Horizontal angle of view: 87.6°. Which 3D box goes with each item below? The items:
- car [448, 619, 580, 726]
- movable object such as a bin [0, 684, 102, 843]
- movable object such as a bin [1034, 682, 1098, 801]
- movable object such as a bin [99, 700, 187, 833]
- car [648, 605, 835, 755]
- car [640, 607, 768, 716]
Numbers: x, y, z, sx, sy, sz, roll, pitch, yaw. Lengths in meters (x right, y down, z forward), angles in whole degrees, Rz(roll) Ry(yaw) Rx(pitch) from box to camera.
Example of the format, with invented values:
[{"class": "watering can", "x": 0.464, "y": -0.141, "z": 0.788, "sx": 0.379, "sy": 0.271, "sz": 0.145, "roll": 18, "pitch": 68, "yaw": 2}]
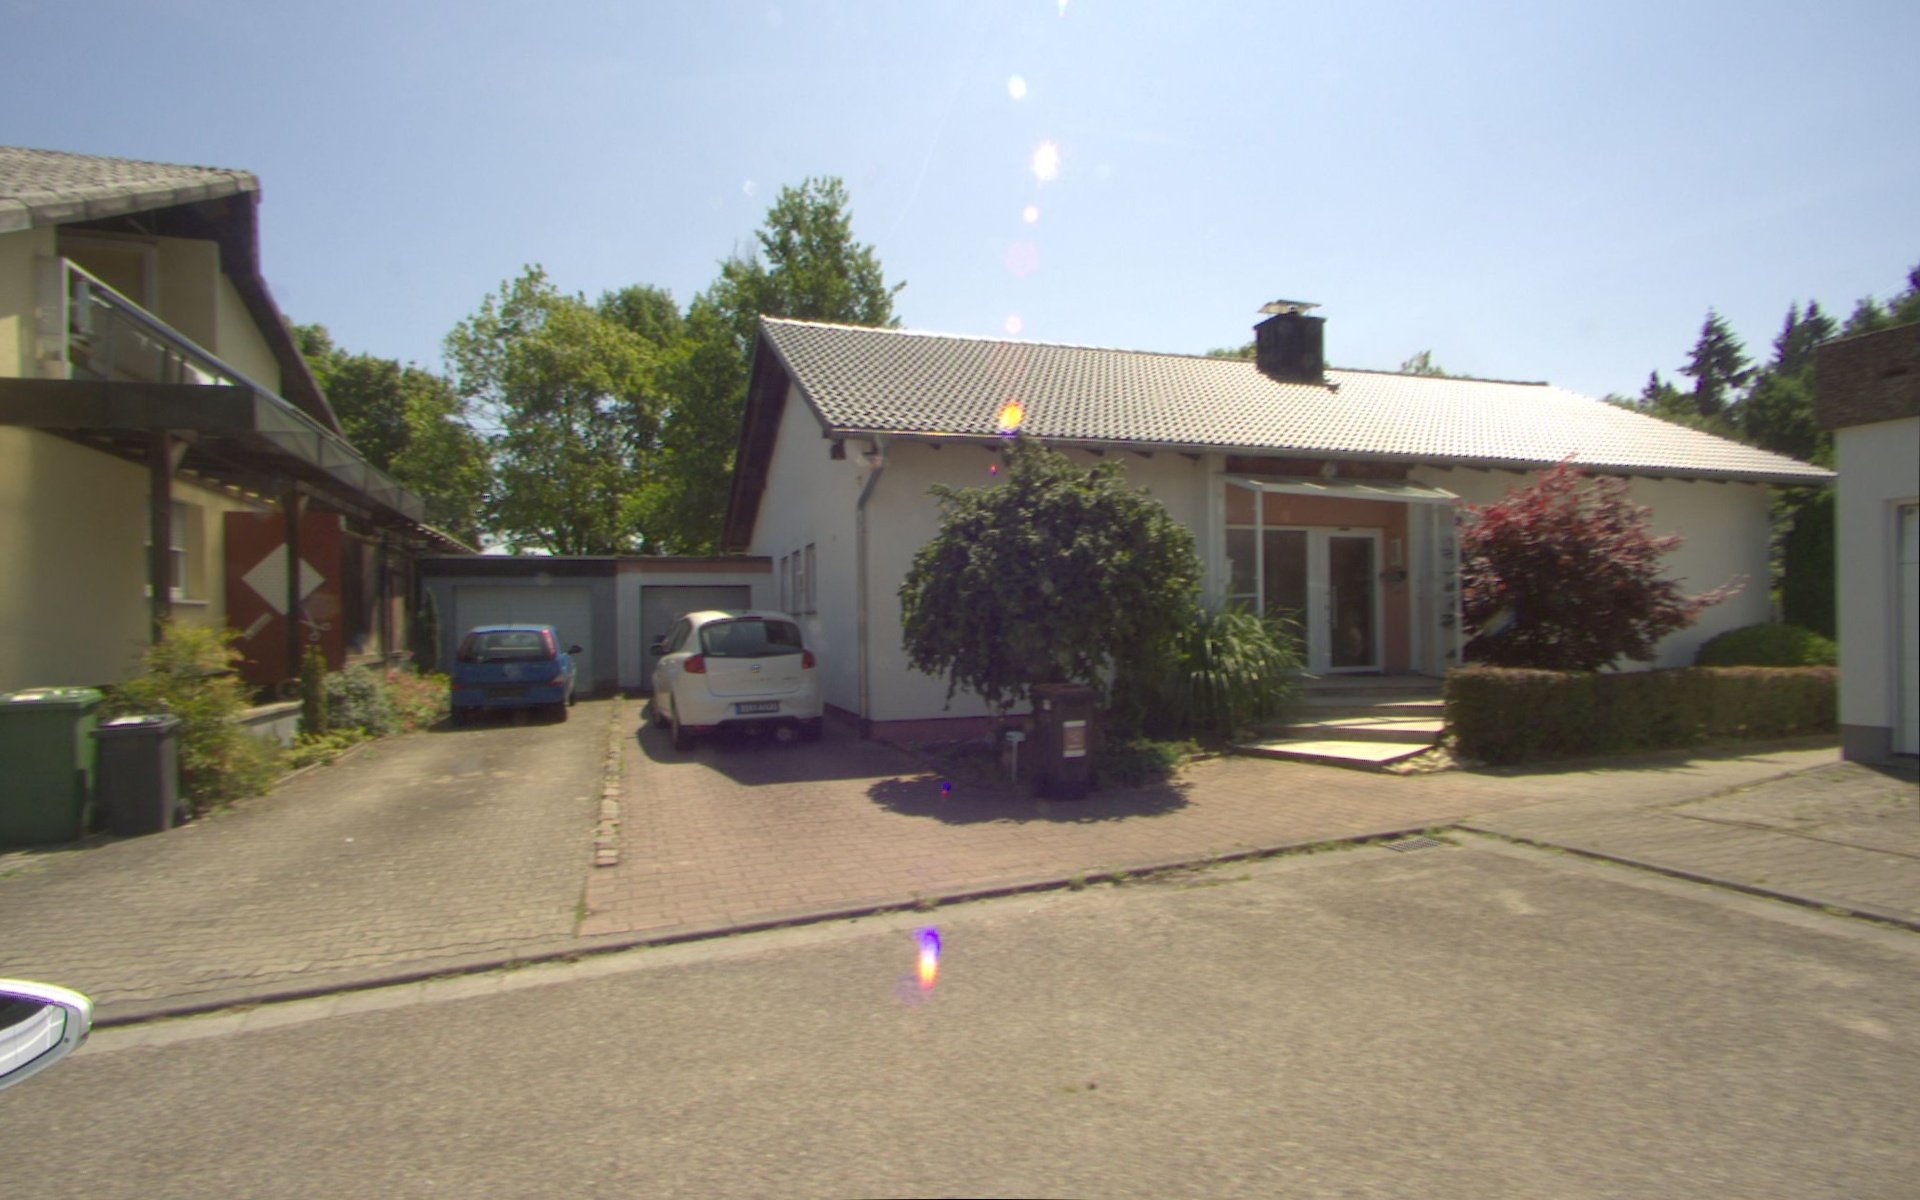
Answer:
[{"class": "car", "x": -6.994, "y": 1.062, "z": 15.968, "sx": 1.592, "sy": 1.474, "sz": 3.246, "roll": 0, "pitch": 0, "yaw": -19}, {"class": "movable object such as a bin", "x": -6.627, "y": 1.153, "z": 7.193, "sx": 0.583, "sy": 1.054, "sz": 0.490, "roll": -1, "pitch": 0, "yaw": -26}, {"class": "movable object such as a bin", "x": 0.865, "y": 1.142, "z": 8.191, "sx": 0.368, "sy": 0.903, "sz": 0.390, "roll": -1, "pitch": 0, "yaw": -19}, {"class": "movable object such as a bin", "x": -6.045, "y": 1.217, "z": 7.422, "sx": 0.401, "sy": 0.903, "sz": 0.424, "roll": -1, "pitch": 0, "yaw": -27}, {"class": "car", "x": -2.950, "y": 0.903, "z": 12.875, "sx": 1.723, "sy": 1.589, "sz": 3.989, "roll": 0, "pitch": -1, "yaw": -21}, {"class": "car", "x": -4.575, "y": 0.976, "z": 17.480, "sx": 1.895, "sy": 1.629, "sz": 3.992, "roll": -1, "pitch": 0, "yaw": -18}]
